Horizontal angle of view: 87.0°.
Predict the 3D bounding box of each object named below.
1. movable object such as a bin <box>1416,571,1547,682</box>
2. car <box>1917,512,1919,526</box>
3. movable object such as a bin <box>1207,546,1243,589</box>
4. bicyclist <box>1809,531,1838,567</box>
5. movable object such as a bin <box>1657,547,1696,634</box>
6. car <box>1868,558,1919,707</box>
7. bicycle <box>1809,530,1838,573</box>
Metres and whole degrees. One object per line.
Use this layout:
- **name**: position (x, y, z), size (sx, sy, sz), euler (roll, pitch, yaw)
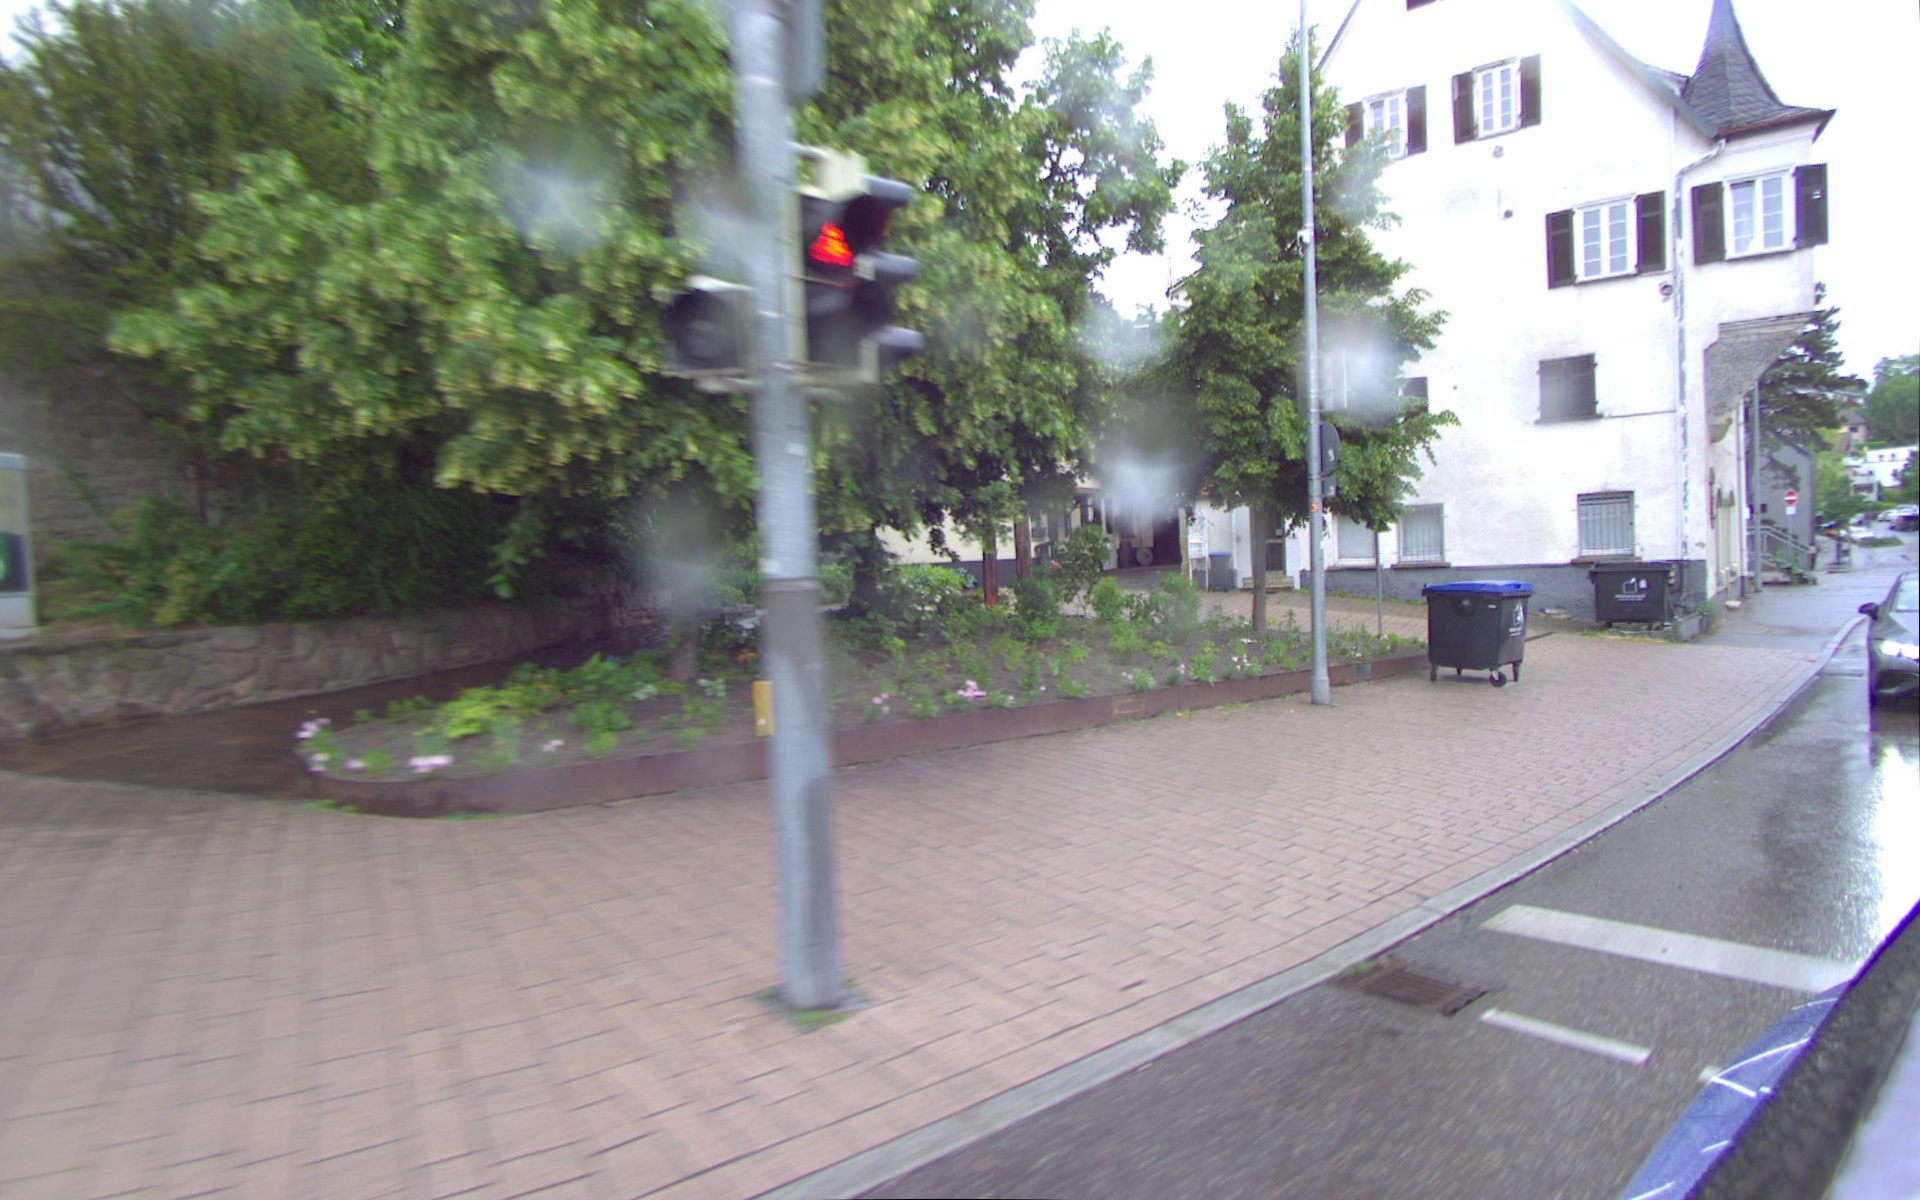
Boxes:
- **movable object such as a bin**: position (6.851, 0.312, 13.300), size (1.166, 1.329, 1.157), euler (-4, 3, -39)
- **car**: position (111.646, -9.360, 116.360), size (3.933, 1.592, 1.996), euler (-2, 3, -42)
- **movable object such as a bin**: position (6.273, -0.778, 23.920), size (0.654, 0.932, 0.587), euler (3, 9, 36)
- **bicyclist**: position (47.521, -2.799, 55.715), size (0.682, 1.509, 1.034), euler (20, 55, 29)
- **movable object such as a bin**: position (12.591, -0.176, 17.794), size (0.408, 1.459, 0.640), euler (-2, 4, 21)
- **car**: position (12.019, 0.287, 11.706), size (4.244, 1.511, 1.995), euler (-3, 3, -44)
- **bicycle**: position (47.676, -2.685, 55.899), size (0.760, 2.090, 1.028), euler (19, -34, 29)
